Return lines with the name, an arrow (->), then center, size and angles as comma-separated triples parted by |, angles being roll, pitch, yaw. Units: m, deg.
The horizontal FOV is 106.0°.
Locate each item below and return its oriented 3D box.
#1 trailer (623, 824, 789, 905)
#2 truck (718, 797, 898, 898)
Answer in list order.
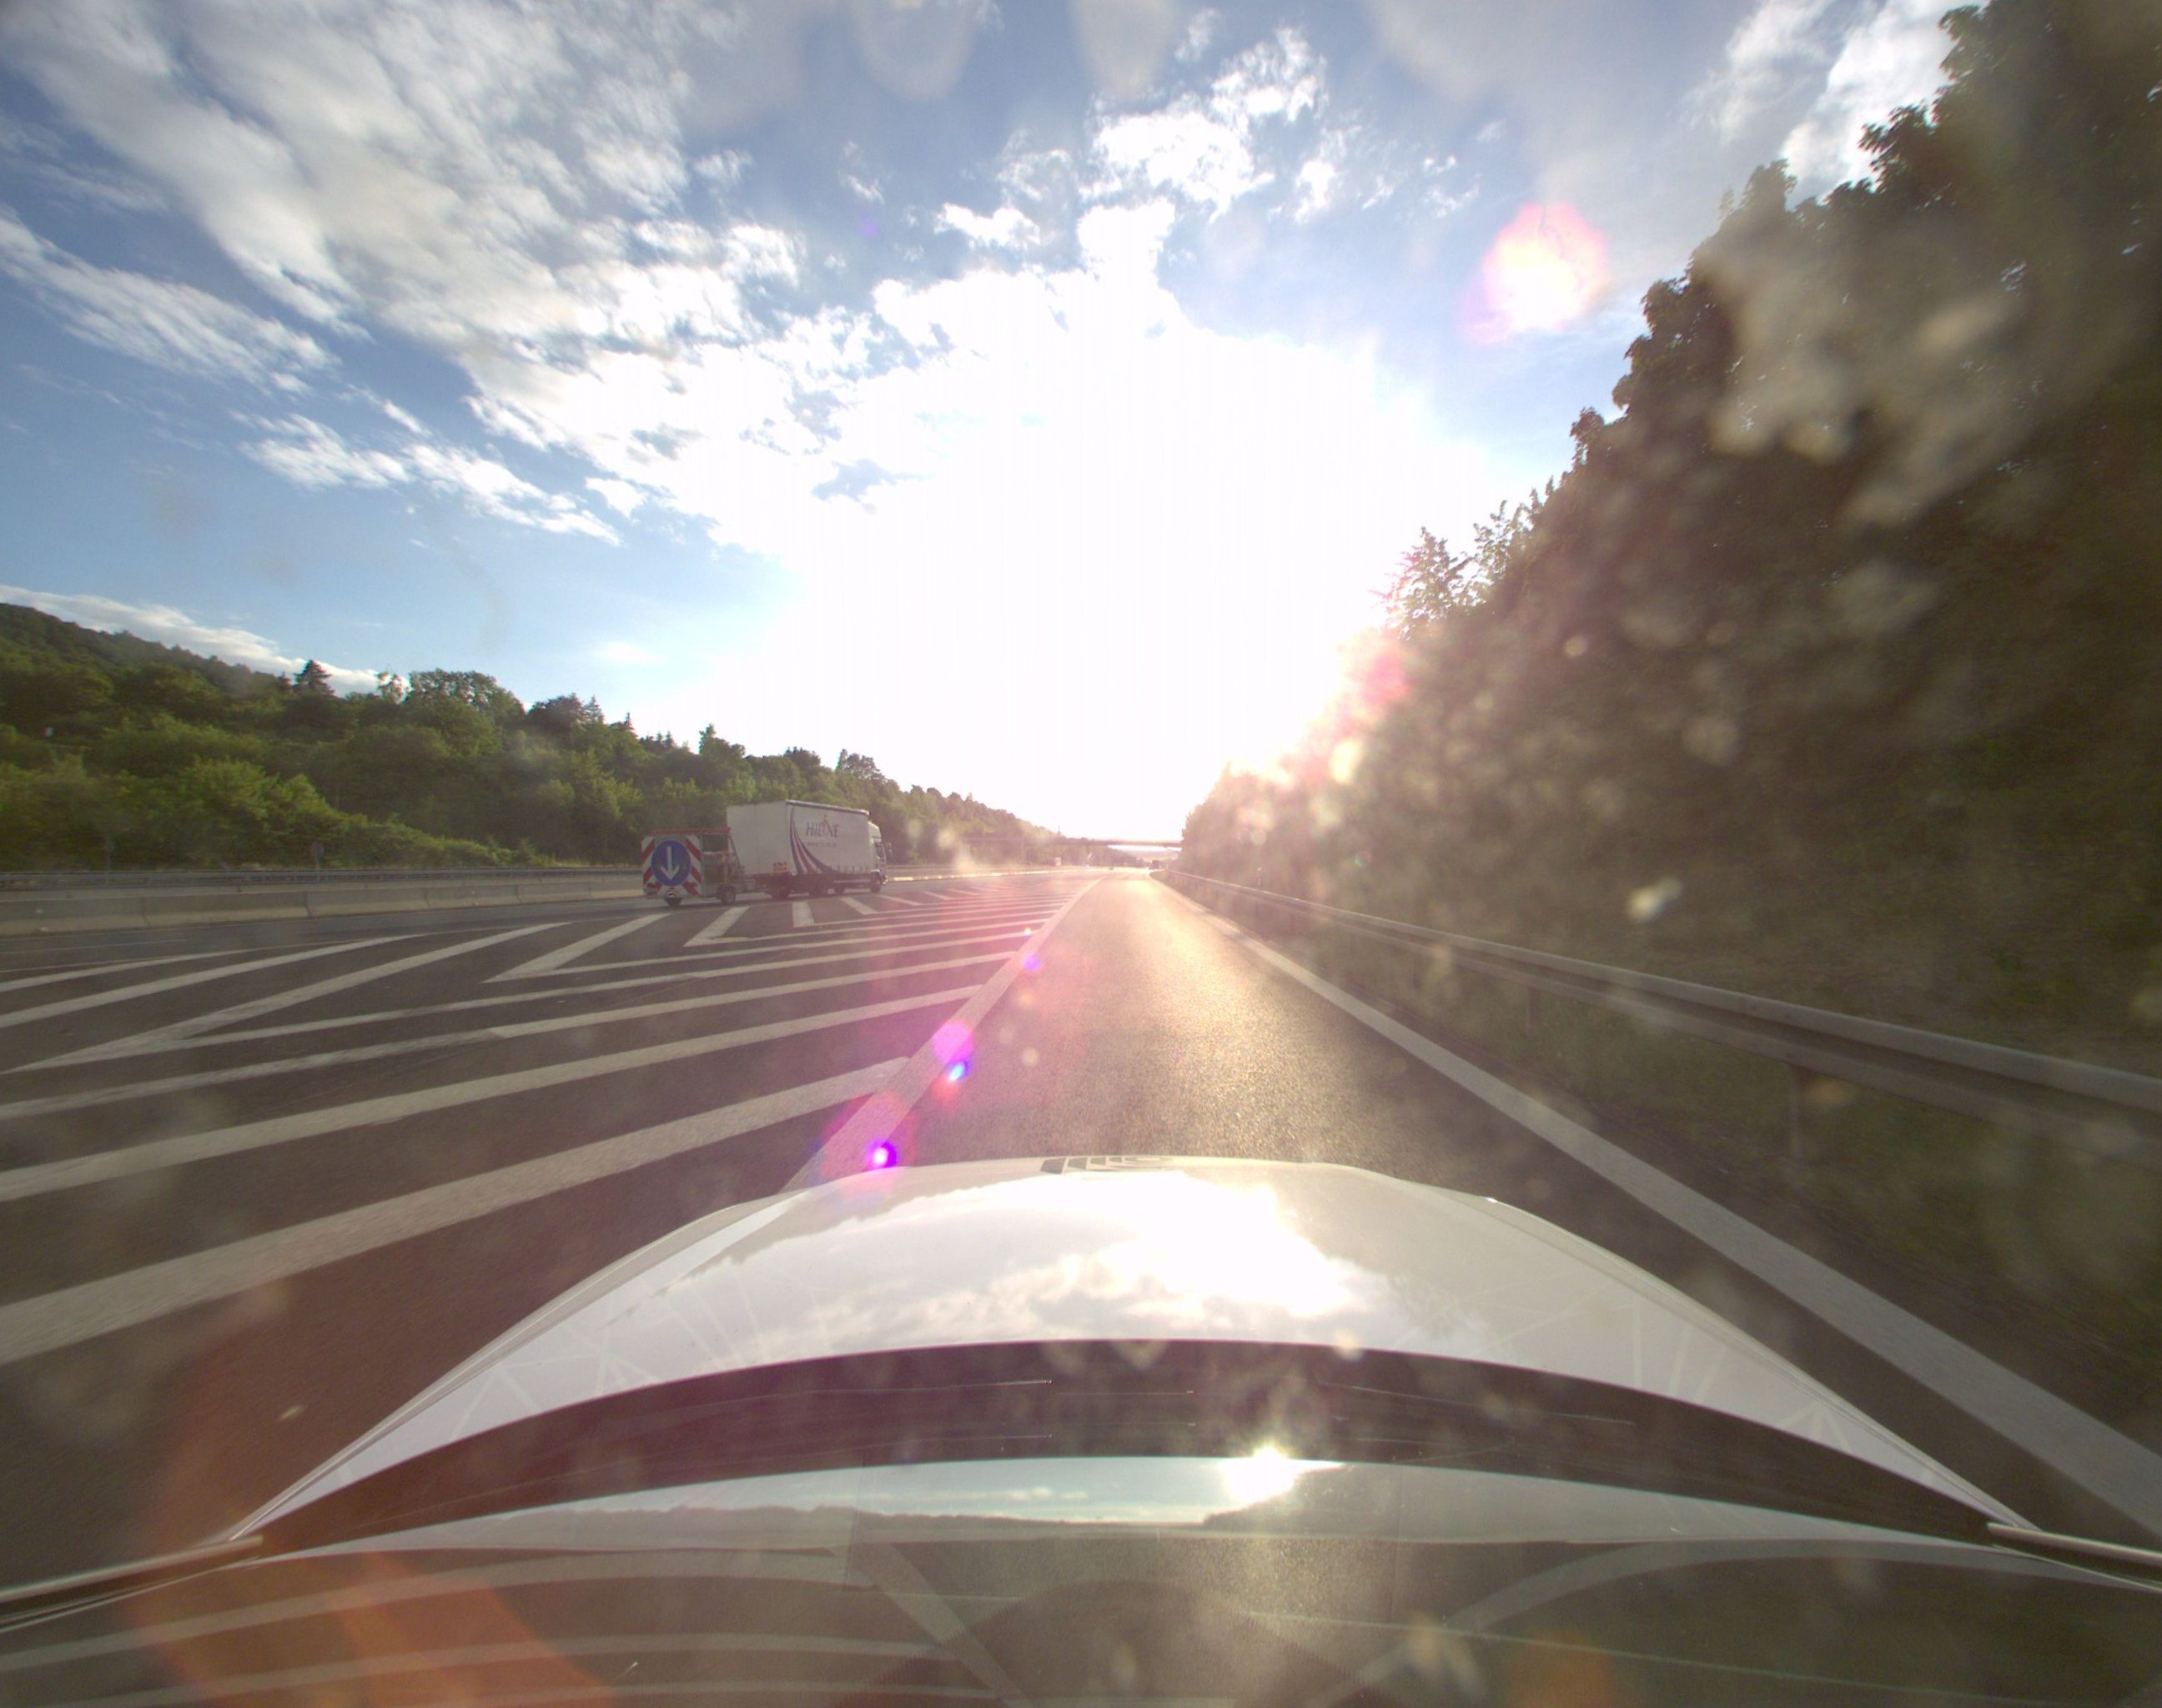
trailer -> -12.869, 0.336, 28.387 | 2.901, 2.578, 4.831 | 0, 0, 12
truck -> -11.385, -0.234, 35.475 | 2.901, 3.789, 9.696 | 0, 0, 12
